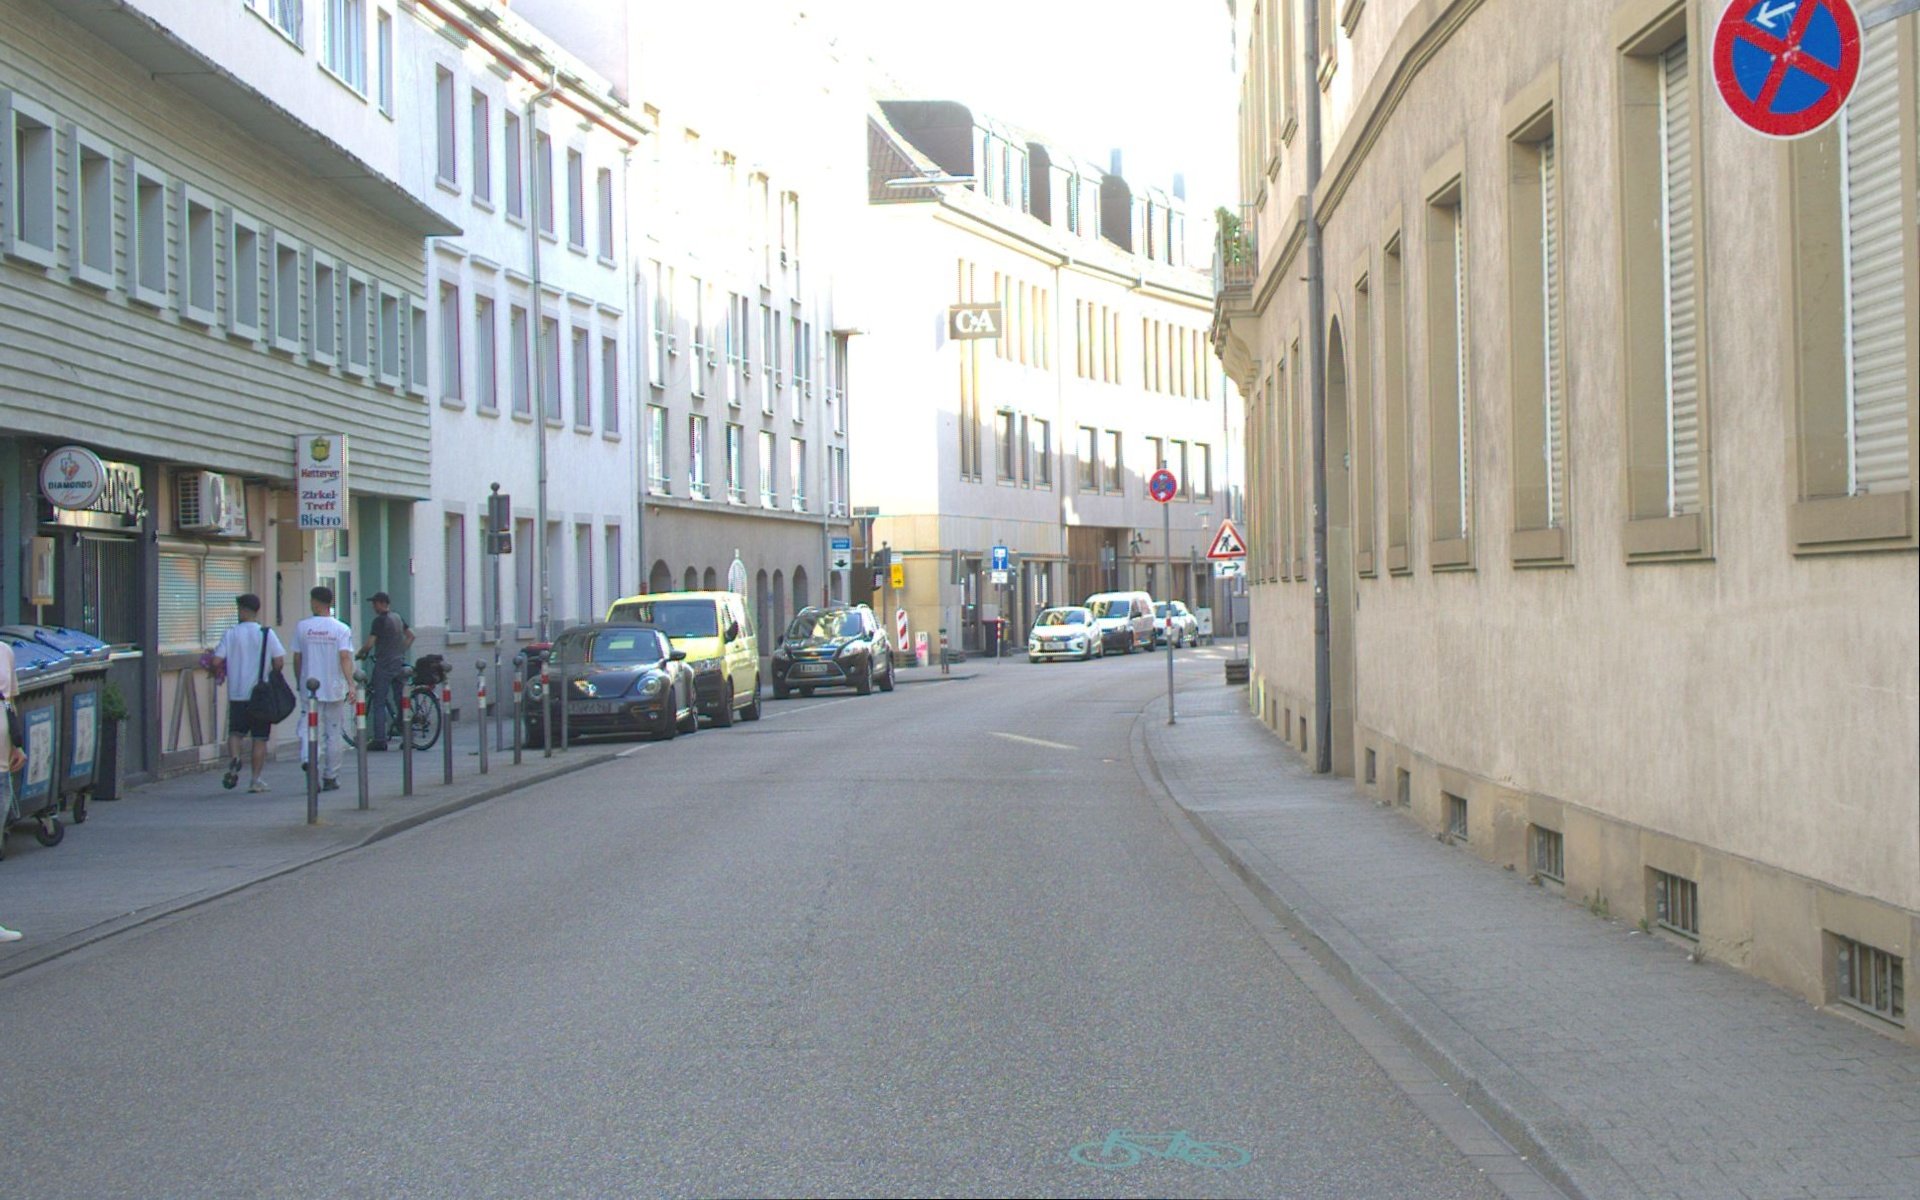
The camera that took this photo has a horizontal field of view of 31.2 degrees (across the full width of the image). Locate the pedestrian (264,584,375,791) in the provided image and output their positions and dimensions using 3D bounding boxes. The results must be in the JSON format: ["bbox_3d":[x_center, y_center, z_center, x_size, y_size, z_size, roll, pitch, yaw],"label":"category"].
[{"bbox_3d":[-5.514,0.743,29.646,0.698,1.728,0.829,-3,0,3],"label":"pedestrian"}]

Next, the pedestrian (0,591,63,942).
[{"bbox_3d":[-4.735,0.792,16.522,0.493,1.664,0.626,1,0,44],"label":"pedestrian"}]

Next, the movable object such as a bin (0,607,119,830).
[{"bbox_3d":[-6.817,0.841,24.805,1.122,1.515,1.342,-1,1,0],"label":"movable object such as a bin"}]

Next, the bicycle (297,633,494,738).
[{"bbox_3d":[-6.535,0.989,39.780,2.131,1.159,0.822,-1,0,25],"label":"bicycle"}]

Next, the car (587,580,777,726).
[{"bbox_3d":[-3.903,0.709,49.011,1.880,1.860,4.863,-4,0,4],"label":"car"}]

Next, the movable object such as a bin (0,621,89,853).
[{"bbox_3d":[-6.614,0.917,23.364,0.968,1.466,1.474,-1,2,0],"label":"movable object such as a bin"}]

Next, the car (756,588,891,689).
[{"bbox_3d":[-2.550,0.696,65.123,1.740,1.705,4.189,-4,0,8],"label":"car"}]

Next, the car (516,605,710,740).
[{"bbox_3d":[-4.328,0.874,43.441,1.819,1.481,4.076,-4,0,2],"label":"car"}]

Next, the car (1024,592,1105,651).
[{"bbox_3d":[2.929,0.586,95.426,1.671,1.502,3.792,-3,0,10],"label":"car"}]

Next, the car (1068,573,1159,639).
[{"bbox_3d":[4.535,0.153,101.096,1.671,1.812,4.549,-3,0,15],"label":"car"}]

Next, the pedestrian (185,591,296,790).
[{"bbox_3d":[-6.188,0.768,29.607,0.672,1.664,0.894,-2,0,3],"label":"pedestrian"}]

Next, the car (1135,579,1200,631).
[{"bbox_3d":[6.479,0.156,107.035,1.272,1.502,3.399,-3,0,16],"label":"car"}]

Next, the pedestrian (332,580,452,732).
[{"bbox_3d":[-6.572,0.649,39.793,1.079,1.723,0.801,-1,0,25],"label":"pedestrian"}]
